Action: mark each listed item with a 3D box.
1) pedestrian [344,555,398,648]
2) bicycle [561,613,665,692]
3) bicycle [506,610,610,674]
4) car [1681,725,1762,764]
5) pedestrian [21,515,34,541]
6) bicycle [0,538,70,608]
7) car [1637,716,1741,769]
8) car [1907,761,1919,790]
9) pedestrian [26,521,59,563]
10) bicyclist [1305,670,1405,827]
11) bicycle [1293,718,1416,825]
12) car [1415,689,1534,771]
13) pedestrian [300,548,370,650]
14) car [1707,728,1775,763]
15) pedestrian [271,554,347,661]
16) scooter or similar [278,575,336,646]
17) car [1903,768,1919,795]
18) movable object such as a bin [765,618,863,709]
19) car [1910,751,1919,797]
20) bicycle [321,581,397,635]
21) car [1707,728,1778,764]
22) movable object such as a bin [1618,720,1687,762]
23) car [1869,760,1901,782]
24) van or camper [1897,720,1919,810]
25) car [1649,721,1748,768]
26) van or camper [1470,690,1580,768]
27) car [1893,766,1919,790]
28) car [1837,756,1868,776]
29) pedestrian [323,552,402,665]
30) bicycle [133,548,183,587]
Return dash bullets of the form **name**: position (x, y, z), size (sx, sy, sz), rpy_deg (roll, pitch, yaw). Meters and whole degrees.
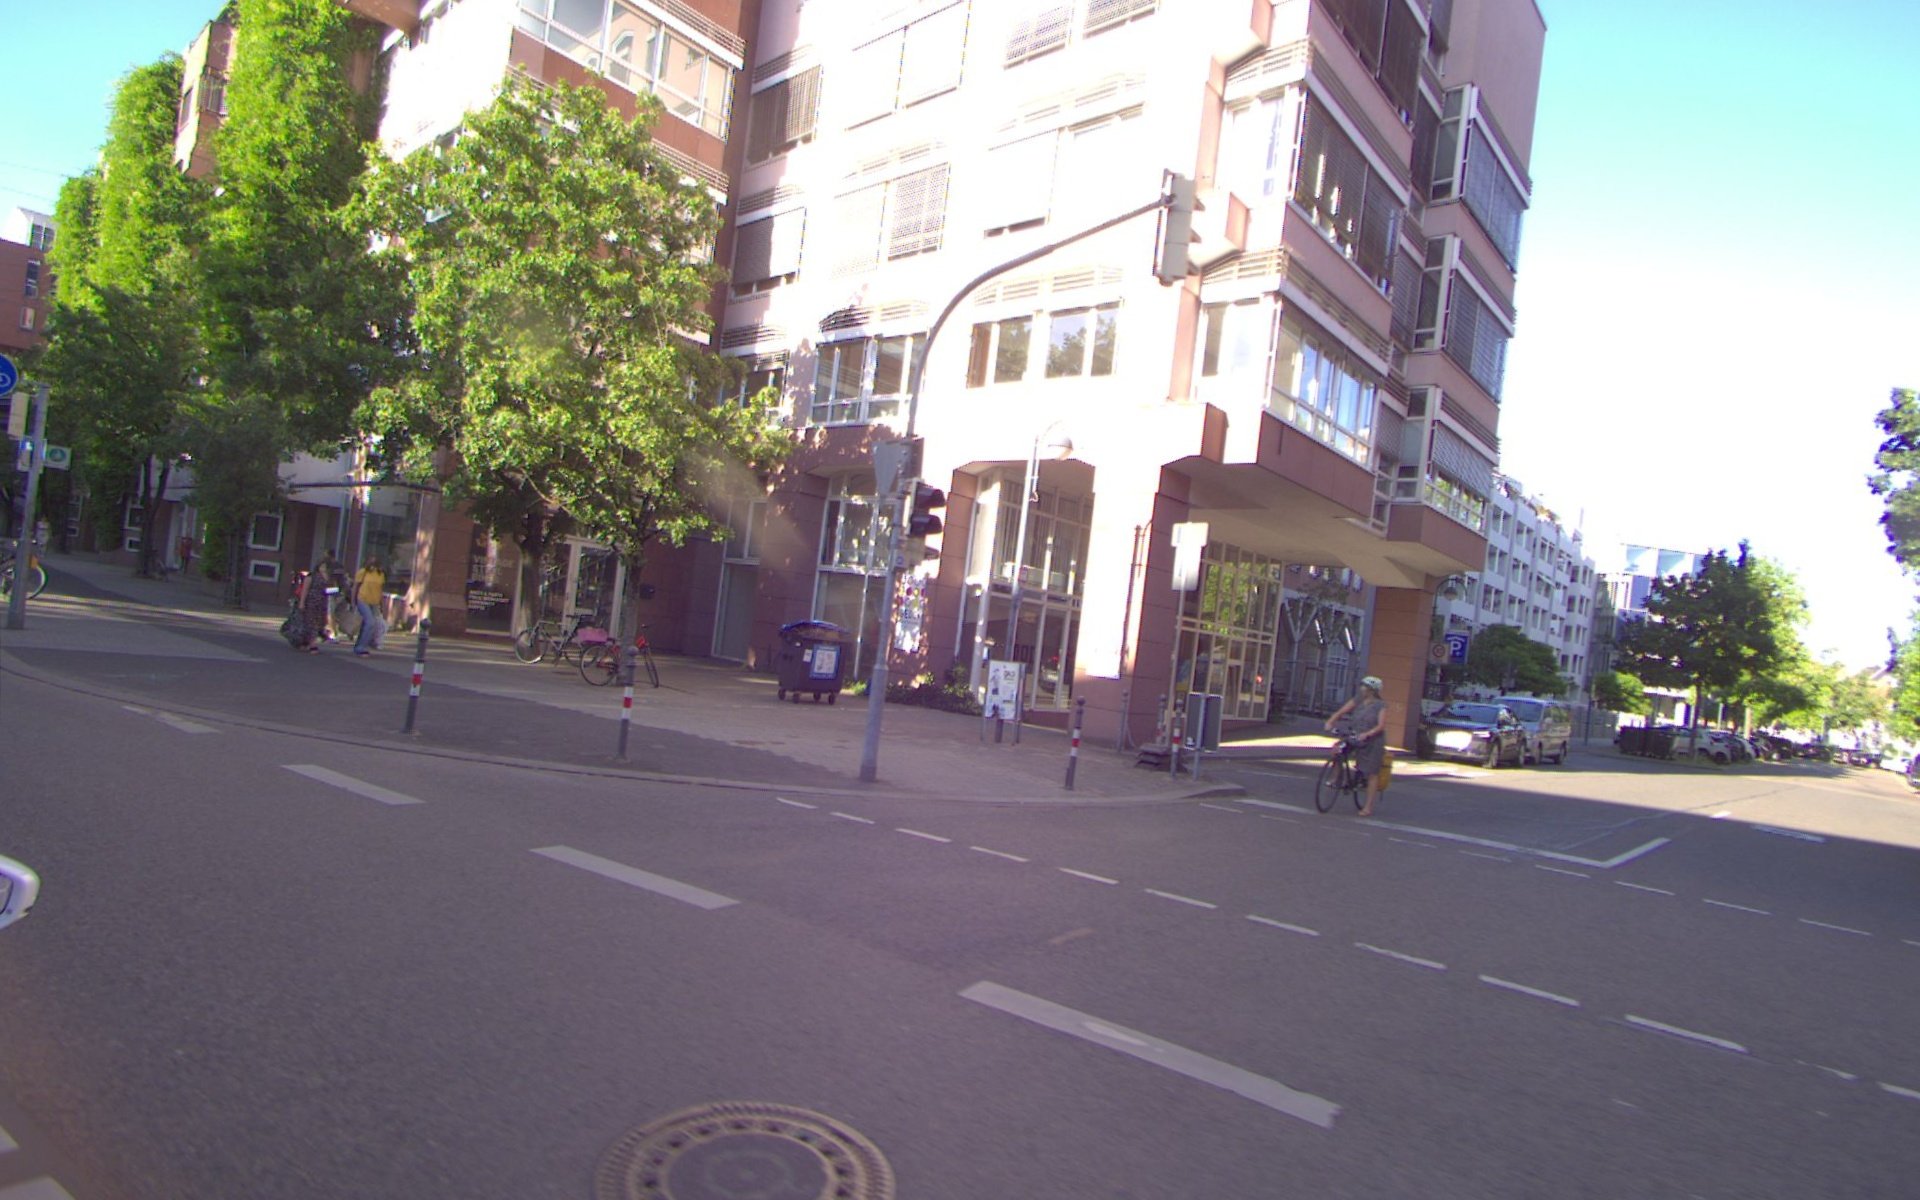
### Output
- **pedestrian**: position (-11.335, 0.035, 19.352), size (0.668, 1.692, 0.460), rpy_deg (7, -1, 31)
- **bicycle**: position (-6.106, 0.952, 17.789), size (0.569, 1.241, 1.567), rpy_deg (6, -2, 37)
- **bicycle**: position (-8.063, 0.847, 20.193), size (1.734, 1.065, 0.733), rpy_deg (8, -1, -31)
- **car**: position (48.644, 9.202, 64.376), size (3.939, 1.853, 1.994), rpy_deg (6, -2, 37)
- **pedestrian**: position (-61.530, -4.750, 66.375), size (0.369, 1.646, 0.449), rpy_deg (6, -1, 37)
- **bicycle**: position (-16.556, -0.507, 17.575), size (1.720, 1.065, 0.739), rpy_deg (7, -1, 23)
- **car**: position (36.099, 7.059, 49.874), size (1.716, 1.996, 3.684), rpy_deg (8, -2, -37)
- **car**: position (59.361, 10.876, 61.649), size (1.845, 1.602, 3.981), rpy_deg (5, -4, 44)
- **pedestrian**: position (-35.279, -2.234, 38.690), size (0.764, 1.461, 0.770), rpy_deg (9, -3, -44)
- **bicyclist**: position (4.954, 1.836, 12.597), size (0.777, 1.791, 0.824), rpy_deg (6, -1, 40)
- **bicycle**: position (5.010, 2.128, 12.703), size (0.792, 1.126, 1.914), rpy_deg (6, -2, 40)
- **car**: position (13.521, 3.398, 26.315), size (1.776, 1.741, 4.183), rpy_deg (6, -2, 40)
- **pedestrian**: position (-11.695, -0.019, 18.836), size (0.601, 1.784, 0.785), rpy_deg (6, -1, 39)
- **car**: position (60.153, 11.180, 77.574), size (3.939, 2.037, 1.994), rpy_deg (6, -2, 37)
- **pedestrian**: position (-10.417, 0.117, 16.105), size (0.736, 1.597, 0.644), rpy_deg (6, -1, 35)
- **scooter or similar**: position (-12.018, 0.192, 18.510), size (1.231, 1.171, 0.394), rpy_deg (6, -1, 38)
- **car**: position (63.425, 12.029, 66.111), size (1.975, 1.659, 3.981), rpy_deg (5, -4, 44)
- **movable object such as a bin**: position (-2.686, 1.186, 18.611), size (0.860, 1.499, 1.408), rpy_deg (6, -2, 43)
- **car**: position (45.847, 8.290, 46.989), size (1.975, 2.036, 3.981), rpy_deg (5, -4, 44)
- **bicycle**: position (-13.079, 0.163, 21.882), size (1.725, 0.950, 0.737), rpy_deg (6, -1, 36)
- **car**: position (58.830, 10.982, 75.711), size (3.939, 2.037, 1.994), rpy_deg (6, -2, 37)
- **movable object such as a bin**: position (30.701, 6.255, 44.609), size (1.720, 1.517, 2.134), rpy_deg (8, -3, -42)
- **car**: position (83.868, 15.498, 91.213), size (1.975, 1.563, 3.981), rpy_deg (5, -4, 44)
- **van or camper**: position (33.606, 5.609, 31.050), size (6.330, 2.799, 2.361), rpy_deg (7, -1, 13)
- **car**: position (38.222, 7.470, 52.162), size (1.716, 1.828, 3.684), rpy_deg (8, -2, -37)
- **van or camper**: position (17.368, 3.959, 30.822), size (1.777, 1.995, 4.554), rpy_deg (6, -2, 43)
- **car**: position (77.057, 14.494, 81.583), size (1.910, 1.625, 3.981), rpy_deg (5, -4, 44)
- **car**: position (85.210, 15.833, 95.994), size (1.975, 1.563, 3.981), rpy_deg (5, -4, 44)
- **pedestrian**: position (-9.947, 0.146, 16.748), size (0.756, 1.754, 0.701), rpy_deg (6, -1, 35)
- **bicycle**: position (-25.238, -1.027, 31.639), size (1.883, 1.032, 0.618), rpy_deg (6, -1, 35)
